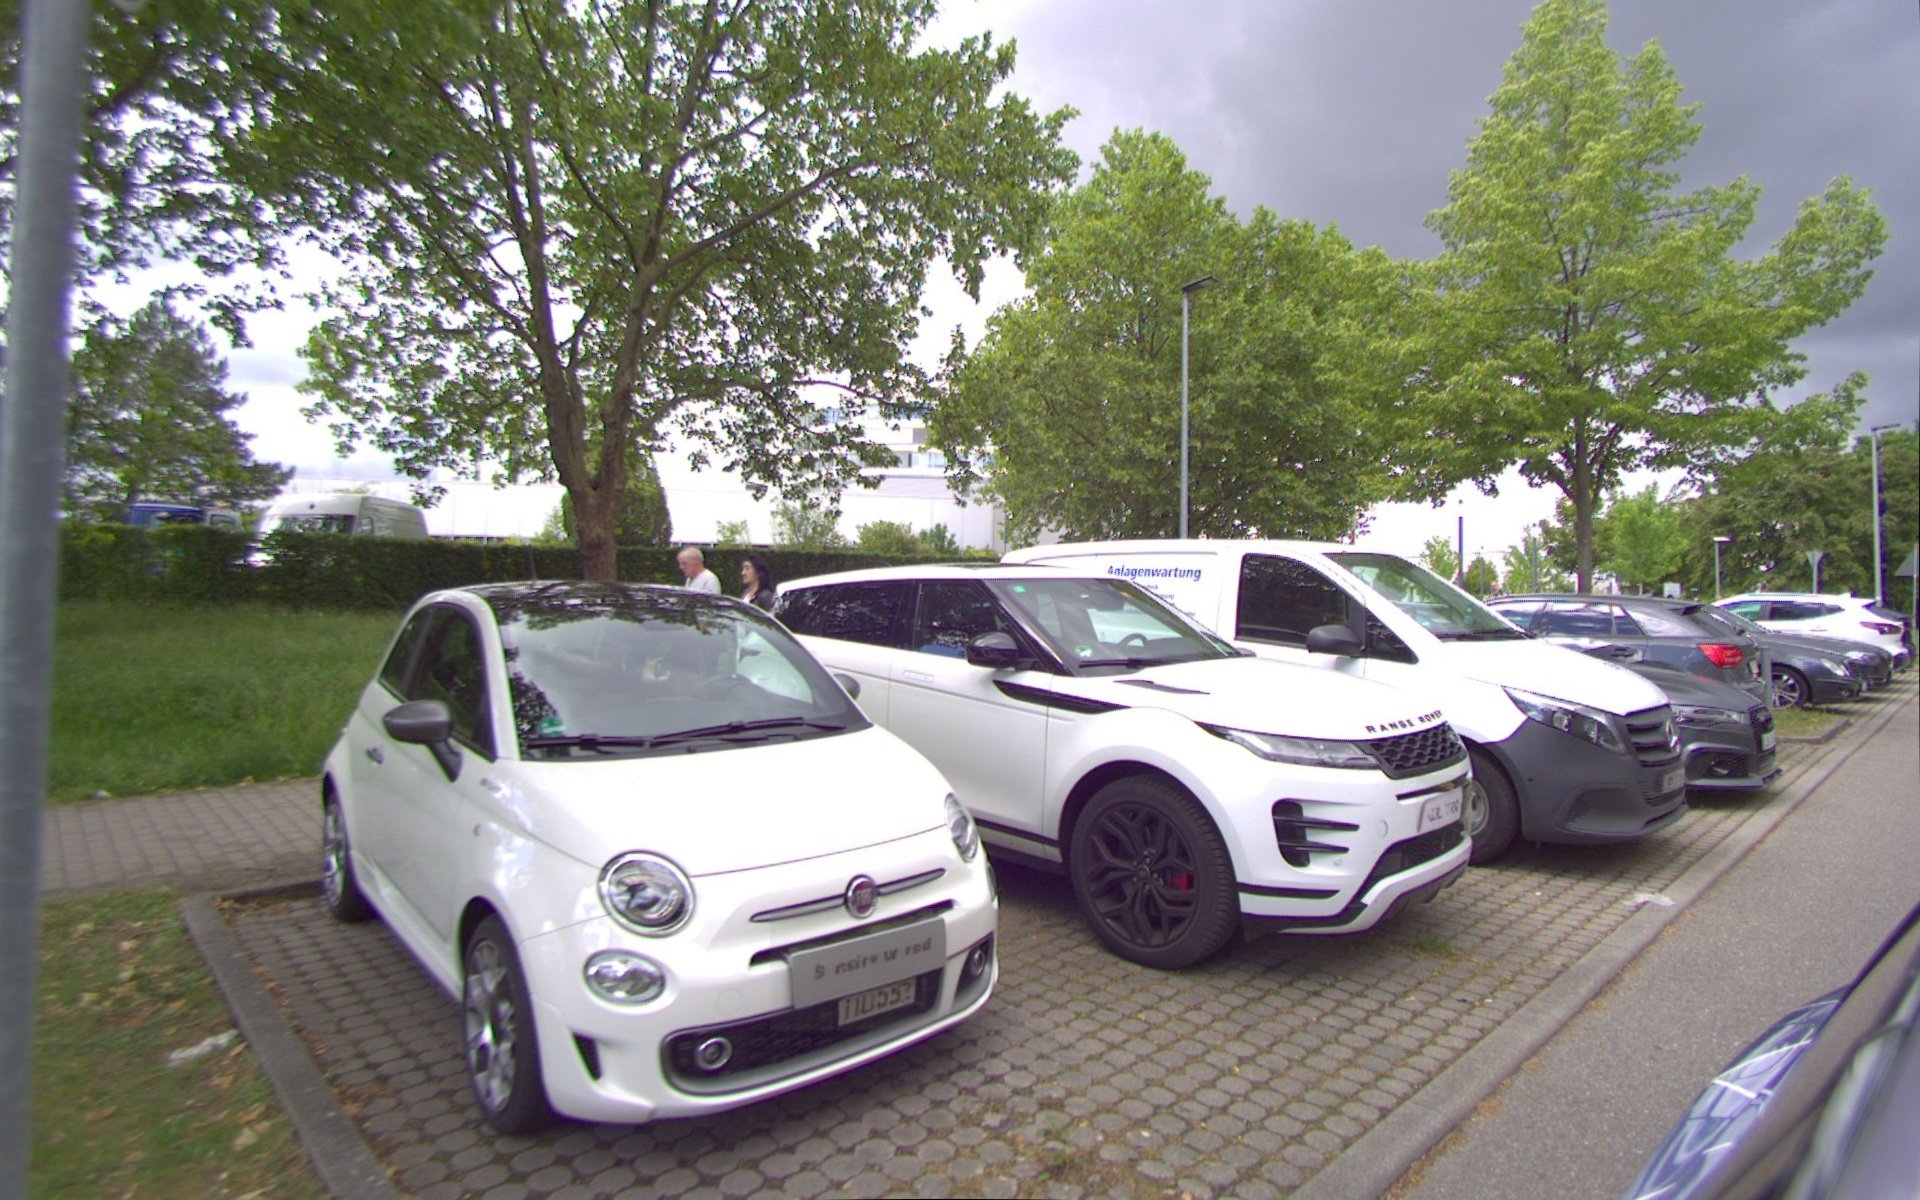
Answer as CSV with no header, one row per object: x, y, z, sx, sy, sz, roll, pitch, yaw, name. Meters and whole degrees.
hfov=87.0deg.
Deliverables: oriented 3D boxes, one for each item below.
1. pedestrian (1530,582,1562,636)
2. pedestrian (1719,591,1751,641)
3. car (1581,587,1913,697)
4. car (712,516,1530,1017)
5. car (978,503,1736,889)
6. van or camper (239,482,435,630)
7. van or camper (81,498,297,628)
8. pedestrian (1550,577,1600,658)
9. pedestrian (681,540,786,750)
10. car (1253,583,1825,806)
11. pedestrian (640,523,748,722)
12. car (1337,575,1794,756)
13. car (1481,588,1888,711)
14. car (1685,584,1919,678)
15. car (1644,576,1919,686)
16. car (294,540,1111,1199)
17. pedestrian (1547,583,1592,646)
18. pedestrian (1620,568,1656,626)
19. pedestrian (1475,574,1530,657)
18.895,0.292,32.630,0.693,1.733,0.655,1,-2,-36,pedestrian
27.403,0.552,35.812,0.756,1.744,0.877,-1,-2,30,pedestrian
12.570,0.610,16.341,1.852,1.538,3.990,0,-1,-43,car
0.480,0.570,5.404,1.709,1.623,4.154,1,-2,-43,car
2.389,0.399,7.280,1.810,1.854,4.784,0,1,-40,car
-13.127,-0.808,21.700,2.071,2.834,4.487,0,-1,-10,van or camper
-18.374,-0.771,24.454,2.072,2.834,4.484,0,-1,-6,van or camper
14.083,0.395,23.176,0.863,1.816,0.740,1,-2,-42,pedestrian
-1.909,0.365,8.531,0.590,1.678,0.689,1,-2,-43,pedestrian
4.665,0.587,8.579,1.811,1.388,3.831,0,1,-41,car
-2.389,0.194,9.069,0.583,1.678,0.870,1,-2,-43,pedestrian
6.309,0.532,10.838,1.879,1.539,3.829,0,1,-43,car
10.335,0.580,14.709,1.920,1.511,4.577,0,1,-45,car
16.348,0.533,19.428,1.565,1.594,3.677,-2,1,-40,car
14.534,0.465,17.883,1.819,1.667,3.678,1,1,-40,car
-1.311,0.618,4.013,1.709,1.480,3.516,1,-1,-42,car
16.132,0.380,26.804,0.677,1.642,0.930,0,-1,7,pedestrian
17.793,-0.065,26.565,0.723,1.487,0.619,1,-2,-42,pedestrian
12.168,0.353,22.715,0.863,1.816,0.832,1,-2,-42,pedestrian
